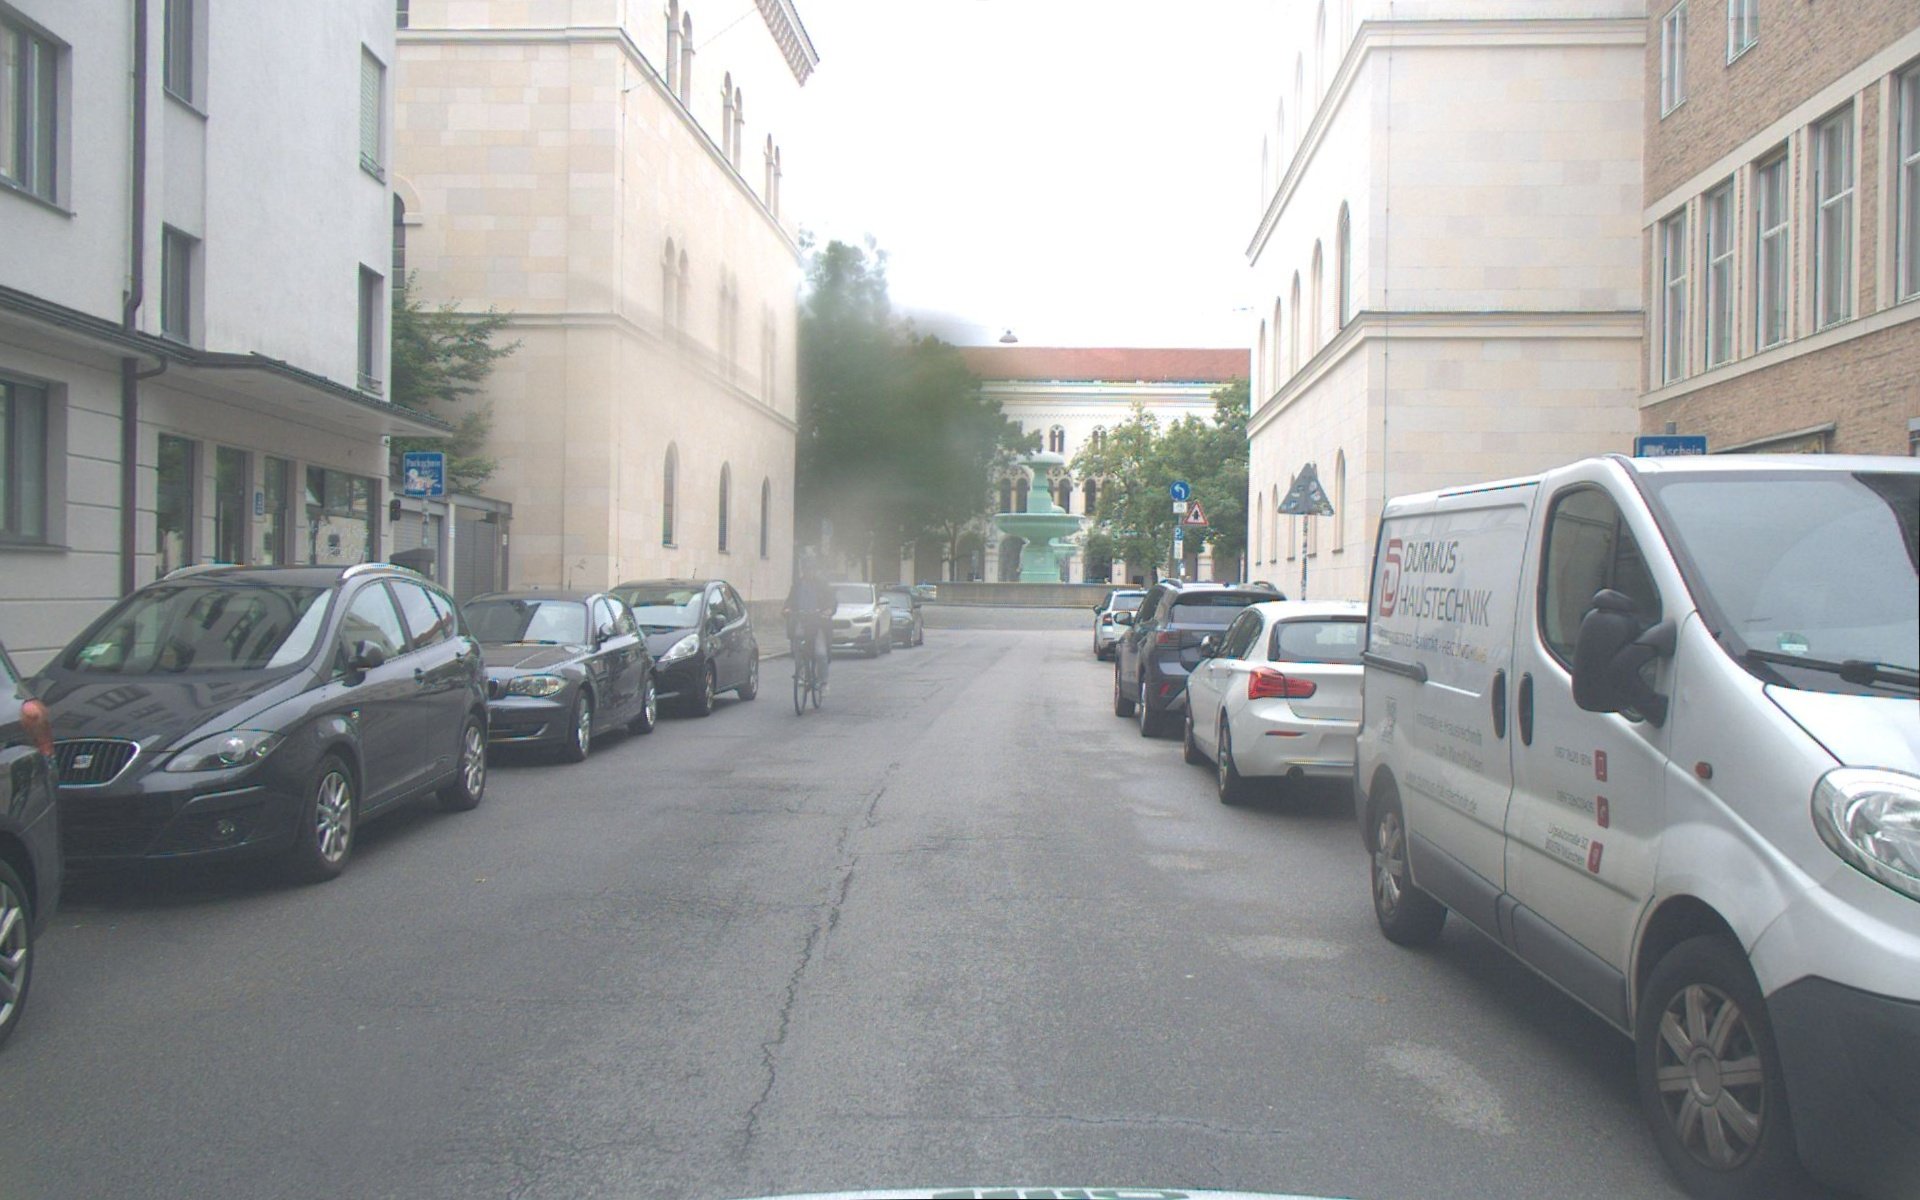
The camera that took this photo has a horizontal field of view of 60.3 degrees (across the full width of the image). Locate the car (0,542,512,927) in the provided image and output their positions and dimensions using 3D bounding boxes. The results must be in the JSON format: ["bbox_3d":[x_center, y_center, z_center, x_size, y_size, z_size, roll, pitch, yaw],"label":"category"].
[{"bbox_3d":[-3.976,0.550,9.377,1.834,1.687,4.079,-1,1,-2],"label":"car"}]

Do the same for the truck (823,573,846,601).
[{"bbox_3d":[-12.130,-1.250,159.341,1.956,2.532,3.994,1,1,-7],"label":"truck"}]

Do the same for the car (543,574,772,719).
[{"bbox_3d":[-3.473,0.469,19.743,1.714,1.478,4.018,-1,1,4],"label":"car"}]

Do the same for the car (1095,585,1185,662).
[{"bbox_3d":[3.800,0.449,35.499,1.751,1.502,4.315,2,1,4],"label":"car"}]

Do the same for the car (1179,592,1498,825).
[{"bbox_3d":[2.738,0.693,12.859,1.638,1.442,4.203,1,1,2],"label":"car"}]

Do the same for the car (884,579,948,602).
[{"bbox_3d":[-2.731,-0.607,103.935,3.904,1.400,2.001,0,1,2],"label":"car"}]

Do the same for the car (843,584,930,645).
[{"bbox_3d":[-1.777,0.335,41.148,1.663,1.417,4.214,-1,0,4],"label":"car"}]

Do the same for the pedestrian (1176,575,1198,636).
[{"bbox_3d":[6.902,0.175,50.280,0.628,1.839,0.489,1,1,9],"label":"pedestrian"}]

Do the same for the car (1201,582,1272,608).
[{"bbox_3d":[17.146,-0.314,102.754,4.265,1.551,1.805,0,1,5],"label":"car"}]

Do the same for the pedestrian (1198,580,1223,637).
[{"bbox_3d":[7.659,0.252,50.545,0.608,1.711,0.545,2,1,-2],"label":"pedestrian"}]

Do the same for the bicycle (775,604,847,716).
[{"bbox_3d":[-1.716,0.668,19.331,0.635,1.218,1.950,0,1,1],"label":"bicycle"}]

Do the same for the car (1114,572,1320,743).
[{"bbox_3d":[2.673,0.539,18.017,1.711,1.621,3.957,1,1,2],"label":"car"}]

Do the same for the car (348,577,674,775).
[{"bbox_3d":[-3.870,0.569,14.980,1.714,1.478,4.017,-1,1,2],"label":"car"}]

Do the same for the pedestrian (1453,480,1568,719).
[{"bbox_3d":[5.307,-0.012,15.989,0.777,2.236,0.813,1,1,-2],"label":"pedestrian"}]

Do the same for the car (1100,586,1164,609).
[{"bbox_3d":[10.720,-0.154,103.154,3.902,1.427,1.826,0,1,6],"label":"car"}]

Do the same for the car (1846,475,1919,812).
[{"bbox_3d":[6.664,0.294,9.228,1.629,2.048,3.257,1,1,-1],"label":"car"}]

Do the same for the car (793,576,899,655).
[{"bbox_3d":[-2.363,0.307,35.166,1.741,1.561,4.213,-1,0,3],"label":"car"}]

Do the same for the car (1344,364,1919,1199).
[{"bbox_3d":[2.774,0.499,5.607,1.843,1.958,4.875,1,1,1],"label":"car"}]

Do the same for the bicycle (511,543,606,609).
[{"bbox_3d":[-7.437,-0.448,30.650,1.675,1.198,0.476,0,0,13],"label":"bicycle"}]

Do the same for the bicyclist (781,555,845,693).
[{"bbox_3d":[-1.716,0.276,19.391,0.643,1.578,0.888,0,0,1],"label":"bicyclist"}]

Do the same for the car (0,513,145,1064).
[{"bbox_3d":[-3.777,0.626,3.747,1.835,1.687,4.587,-1,1,-4],"label":"car"}]
